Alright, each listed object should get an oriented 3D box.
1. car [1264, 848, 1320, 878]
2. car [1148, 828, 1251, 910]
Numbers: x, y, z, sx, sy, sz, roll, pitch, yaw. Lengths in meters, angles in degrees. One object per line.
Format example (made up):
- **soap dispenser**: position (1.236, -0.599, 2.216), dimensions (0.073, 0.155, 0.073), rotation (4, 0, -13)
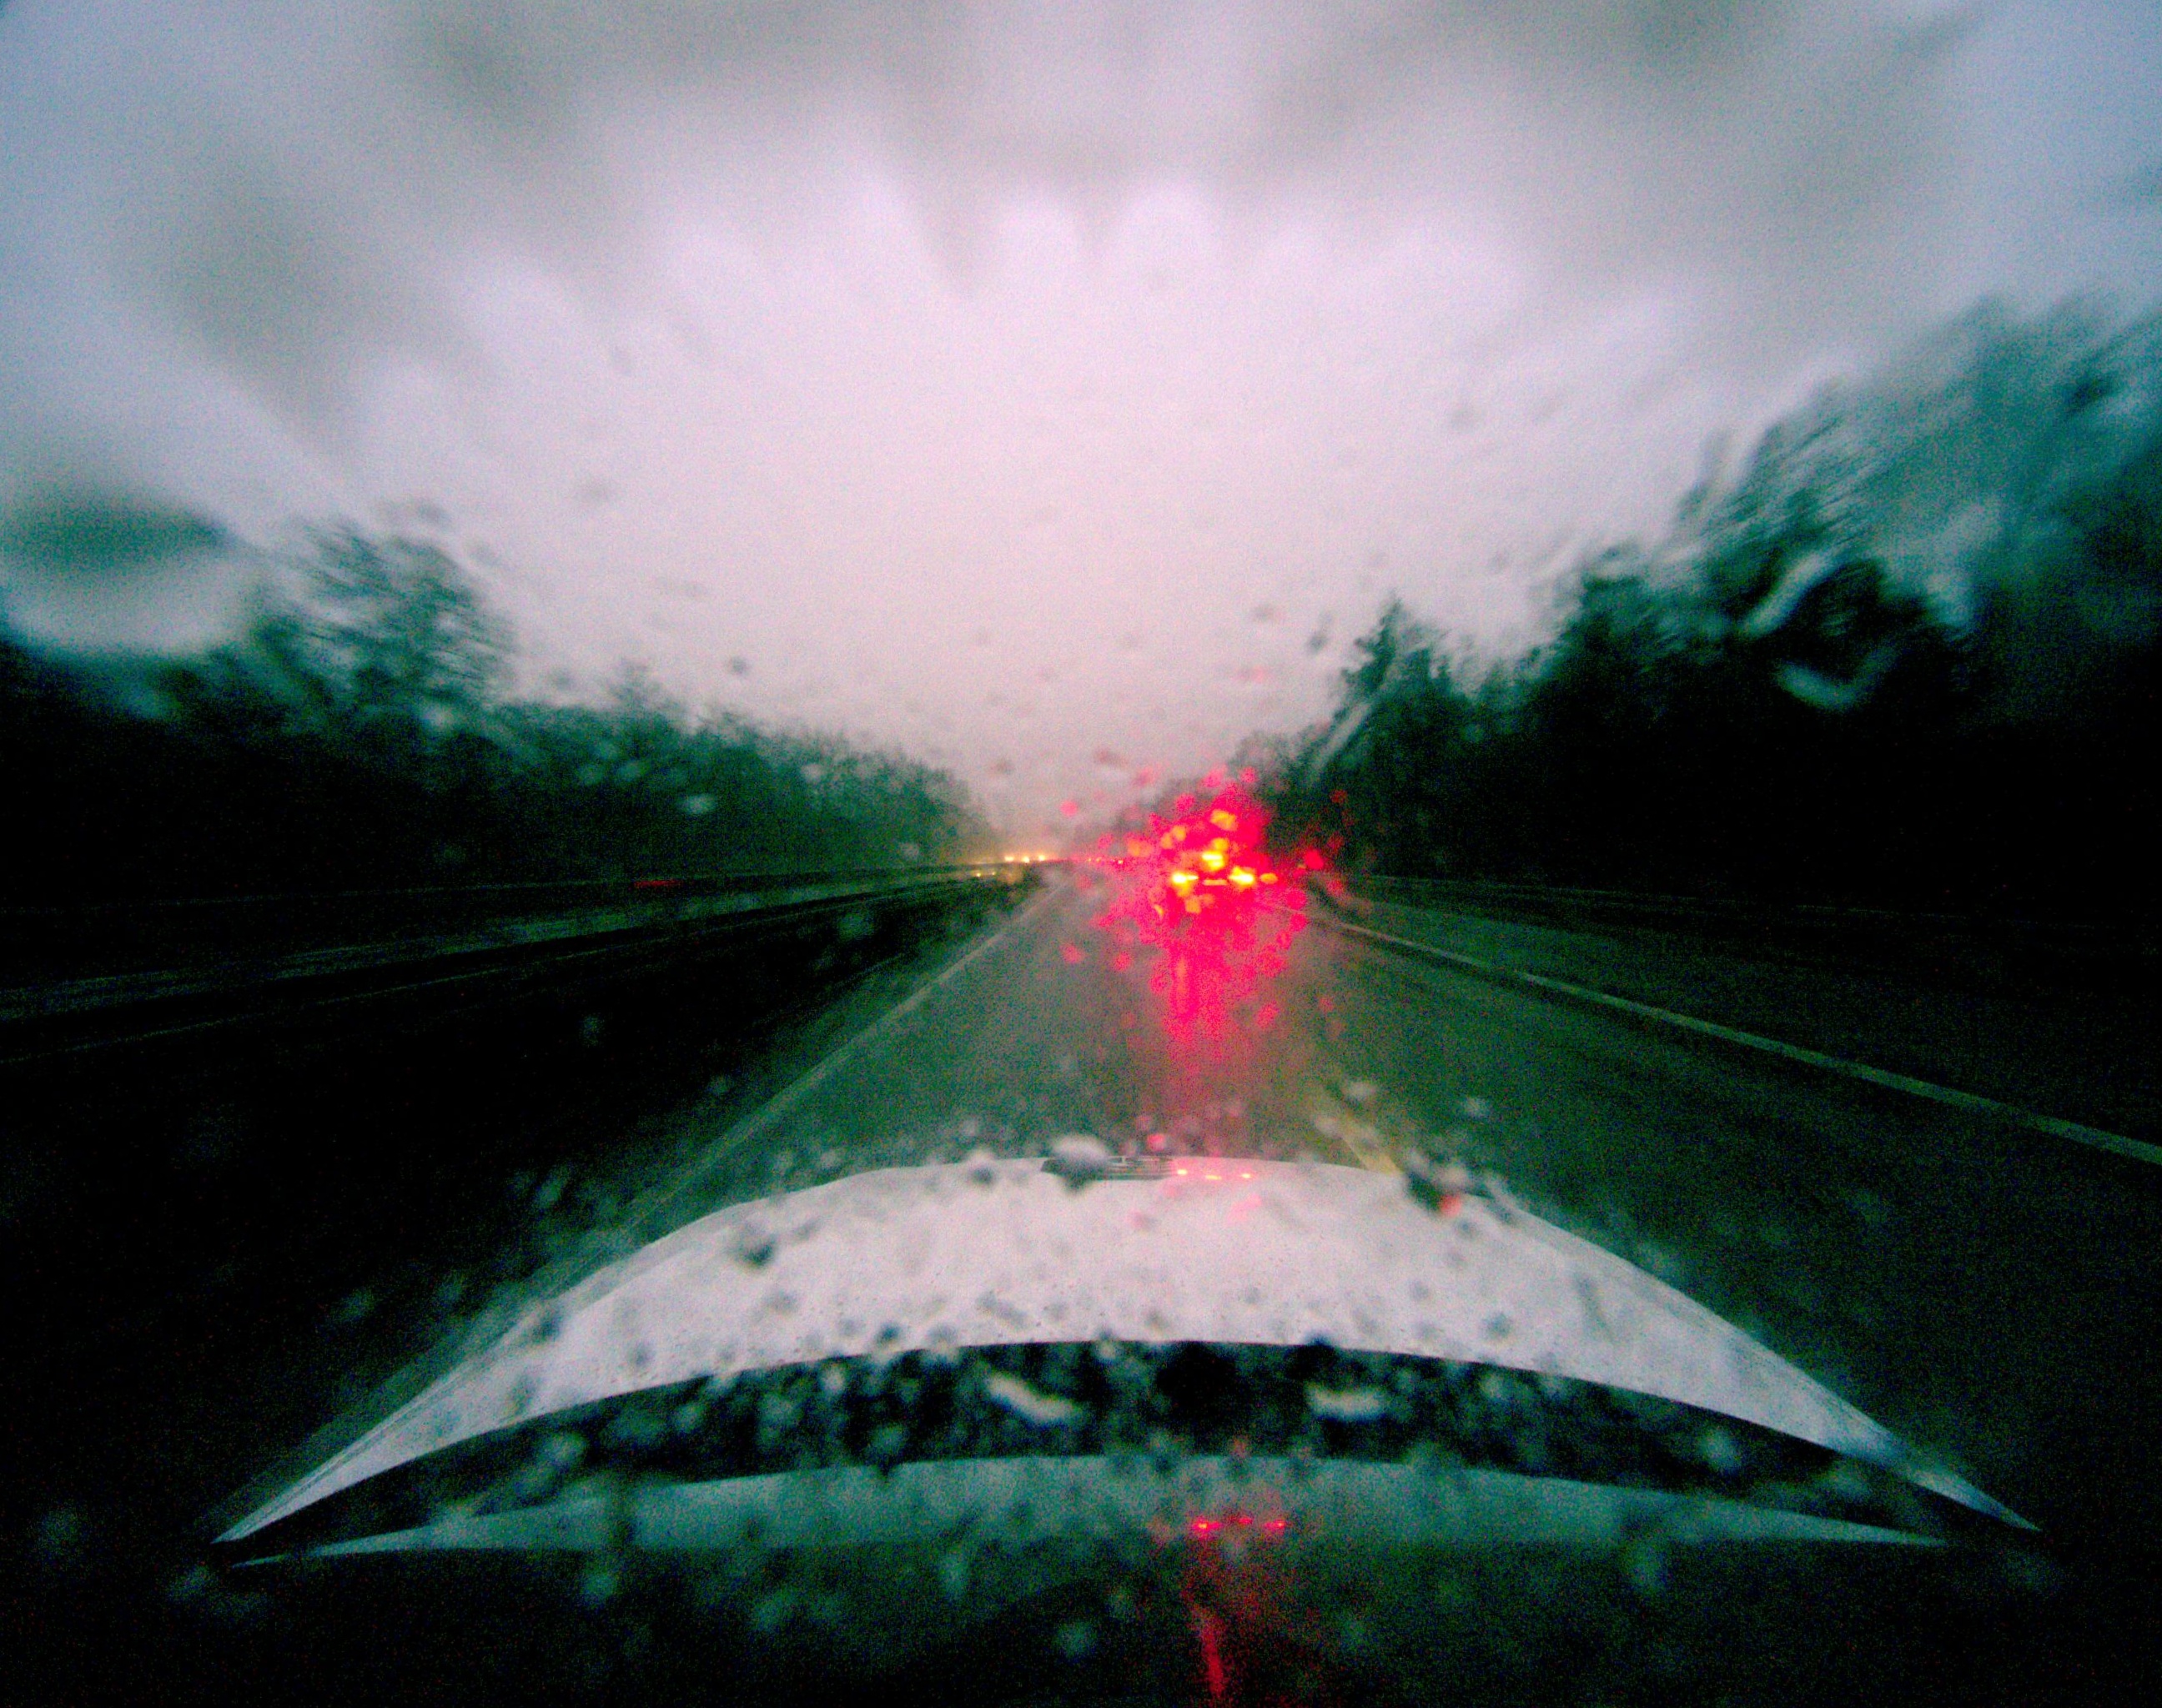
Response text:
- **car**: position (10.444, 0.467, 40.646), dimensions (1.858, 1.419, 4.001), rotation (-1, -1, 2)
- **car**: position (2.779, 0.350, 19.922), dimensions (1.918, 1.791, 3.940), rotation (-1, -1, 0)
